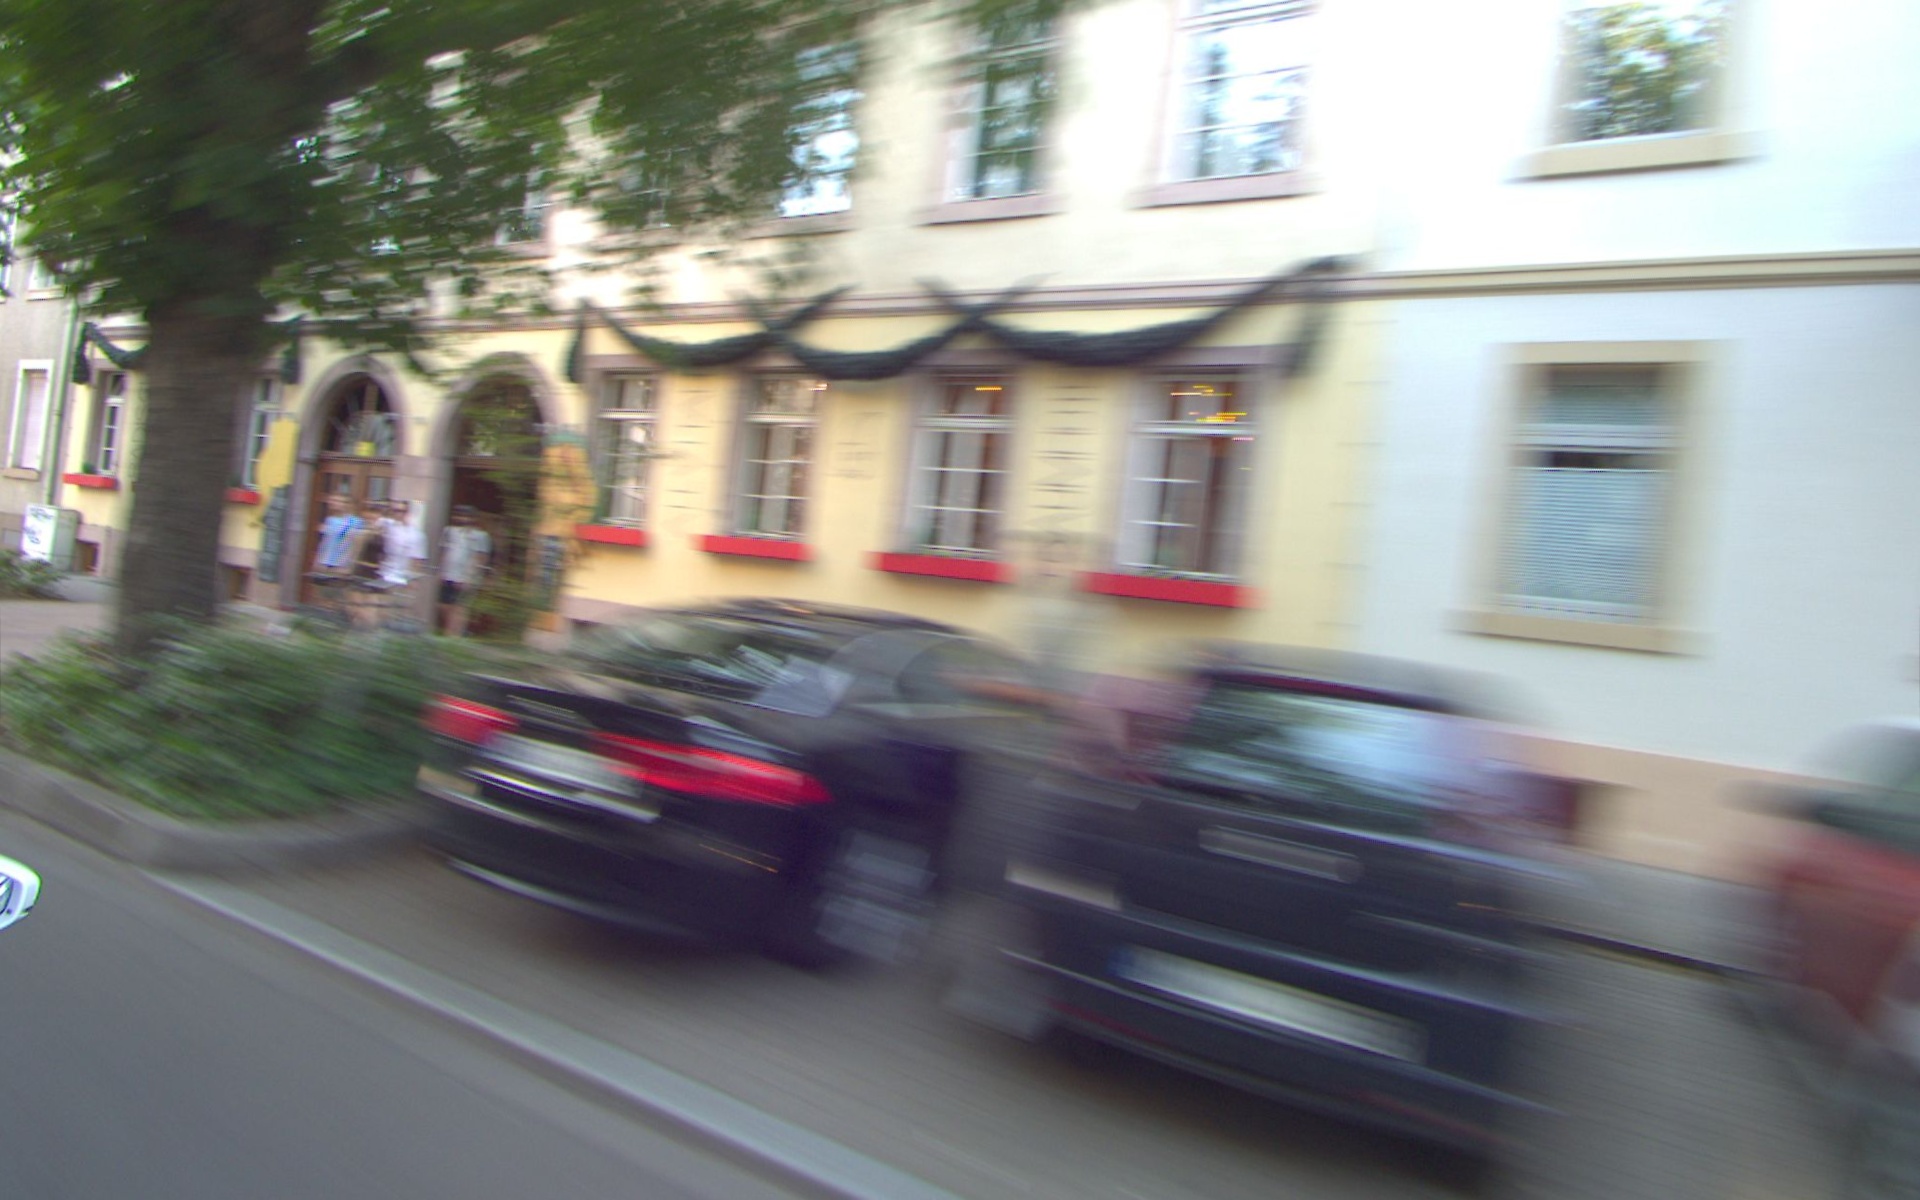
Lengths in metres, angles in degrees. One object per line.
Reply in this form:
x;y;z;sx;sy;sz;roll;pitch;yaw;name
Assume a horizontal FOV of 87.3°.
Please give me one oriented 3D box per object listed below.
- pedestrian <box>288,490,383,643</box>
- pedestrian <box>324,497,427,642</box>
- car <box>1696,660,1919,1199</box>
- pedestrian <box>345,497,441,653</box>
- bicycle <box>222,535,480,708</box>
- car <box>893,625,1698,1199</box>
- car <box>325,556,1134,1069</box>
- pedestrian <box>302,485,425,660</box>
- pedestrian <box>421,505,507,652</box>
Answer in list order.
-7.584;-0.396;12.227;0.612;1.761;0.616;8;2;27;pedestrian
-7.633;-0.385;13.161;0.671;1.761;0.779;7;2;11;pedestrian
3.959;1.164;3.393;1.684;1.599;3.684;7;2;28;car
-6.811;-0.300;12.076;0.709;1.761;0.738;5;3;-43;pedestrian
-5.041;0.167;8.486;0.661;1.249;1.799;7;2;18;bicycle
1.565;0.948;4.460;1.892;1.457;3.992;7;2;26;car
-0.616;0.671;5.428;1.852;1.412;4.407;7;2;25;car
-6.435;-0.287;10.872;0.712;1.761;0.708;7;2;11;pedestrian
-6.325;-0.278;12.822;0.721;1.761;0.737;5;3;-36;pedestrian
